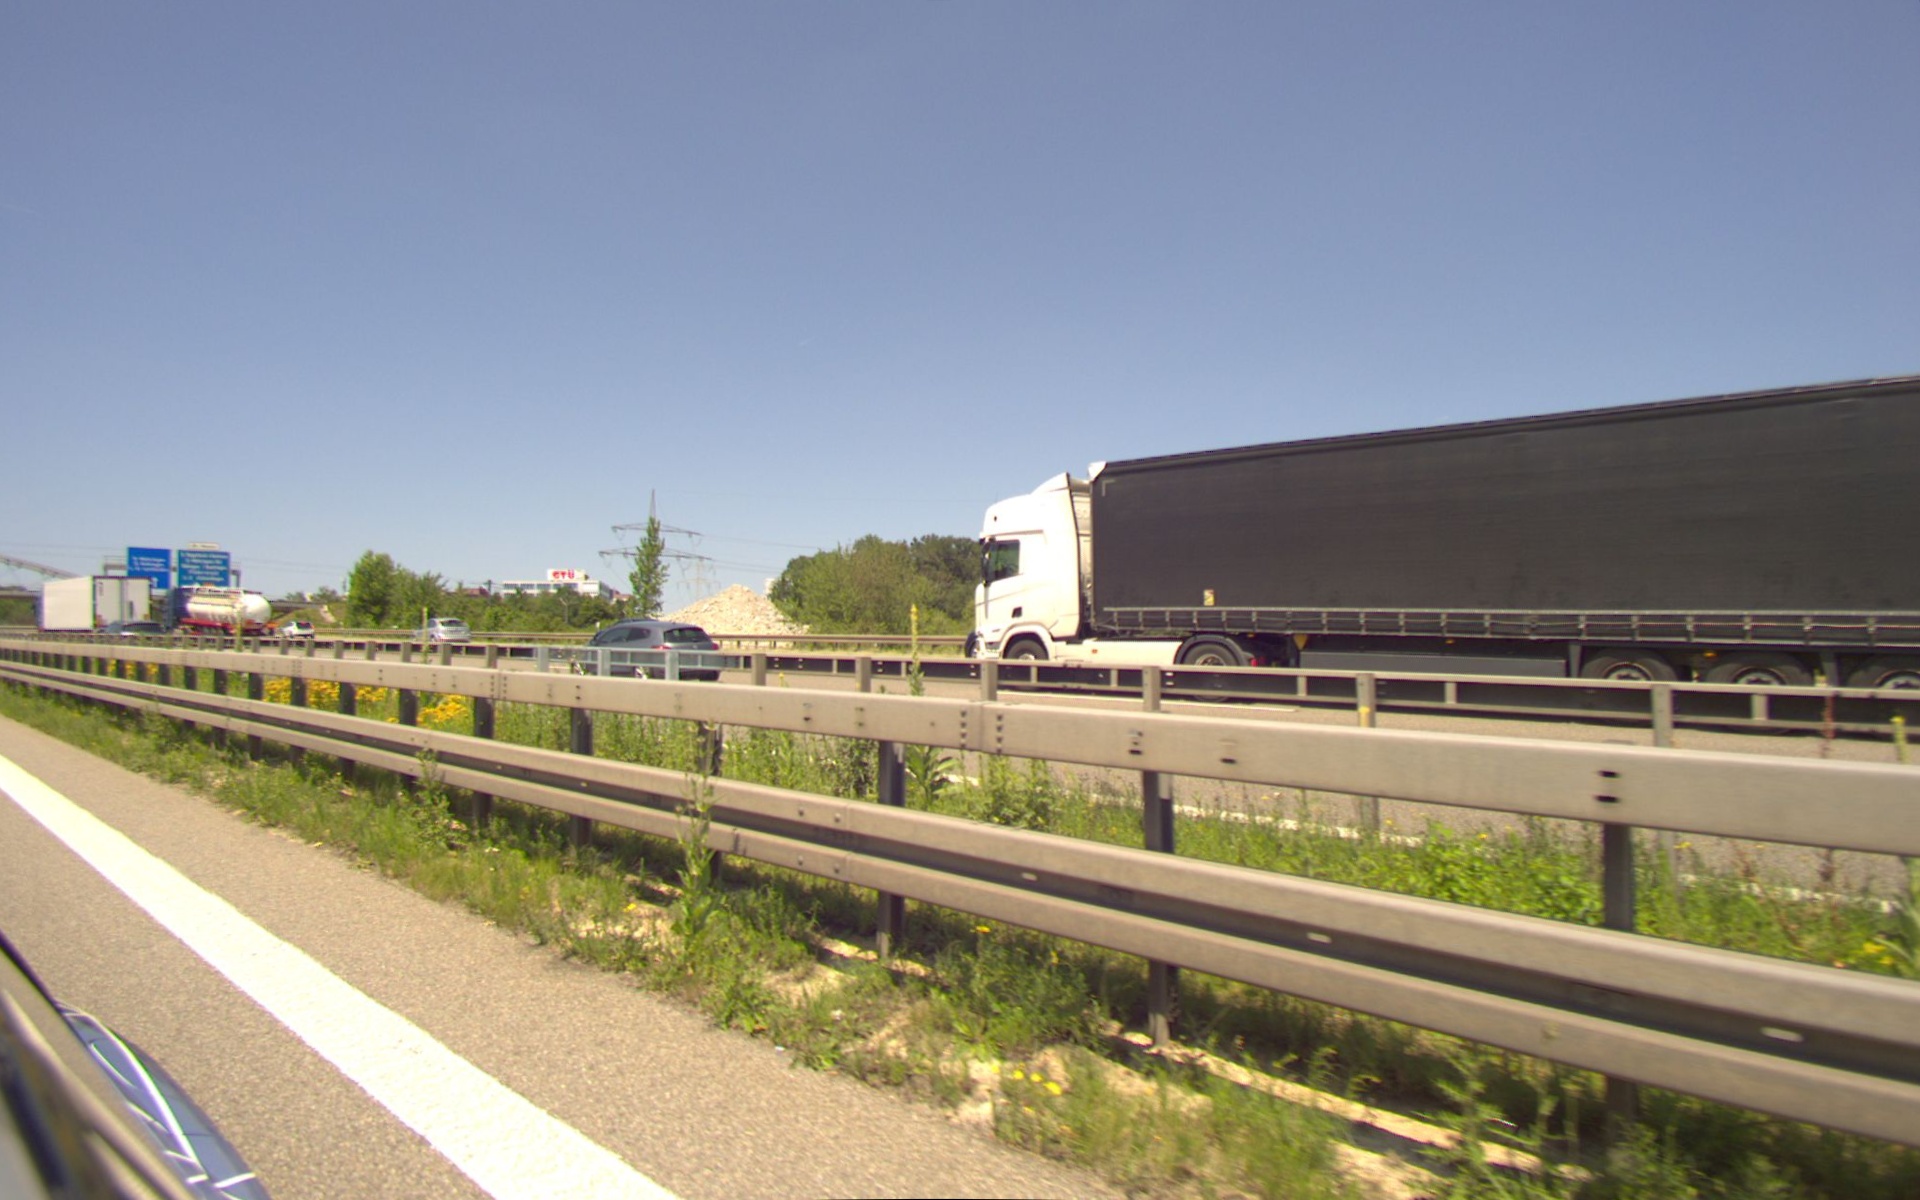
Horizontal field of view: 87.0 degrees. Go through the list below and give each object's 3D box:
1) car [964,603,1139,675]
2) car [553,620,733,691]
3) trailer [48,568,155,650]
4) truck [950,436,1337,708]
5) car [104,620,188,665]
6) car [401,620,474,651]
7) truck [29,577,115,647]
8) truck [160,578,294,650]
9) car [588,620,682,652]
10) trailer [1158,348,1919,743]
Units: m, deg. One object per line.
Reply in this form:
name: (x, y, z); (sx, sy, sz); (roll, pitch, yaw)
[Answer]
car: (2.211, 0.929, 25.044); (3.998, 1.626, 1.859); (-2, -1, 41)
car: (-7.068, 1.163, 22.317); (4.495, 1.371, 1.688); (-1, -1, 41)
trailer: (-50.192, 0.561, 59.042); (10.722, 4.405, 2.926); (-1, -1, 40)
truck: (3.173, -0.378, 18.586); (6.381, 4.148, 2.851); (-2, -1, 41)
car: (-31.742, 1.638, 39.421); (4.407, 1.610, 1.828); (-1, -1, 41)
car: (-26.820, 1.798, 51.884); (4.436, 1.457, 1.733); (-2, -1, 40)
truck: (-56.256, 0.771, 64.078); (7.590, 4.151, 2.937); (-1, -1, 39)
truck: (-42.762, 0.860, 58.761); (12.888, 3.814, 3.187); (-1, -1, 40)
car: (-14.607, 1.598, 45.350); (4.660, 1.325, 1.812); (-1, -1, 40)
trailer: (8.932, -0.532, 13.513); (12.579, 4.144, 2.860); (-1, -1, 41)
